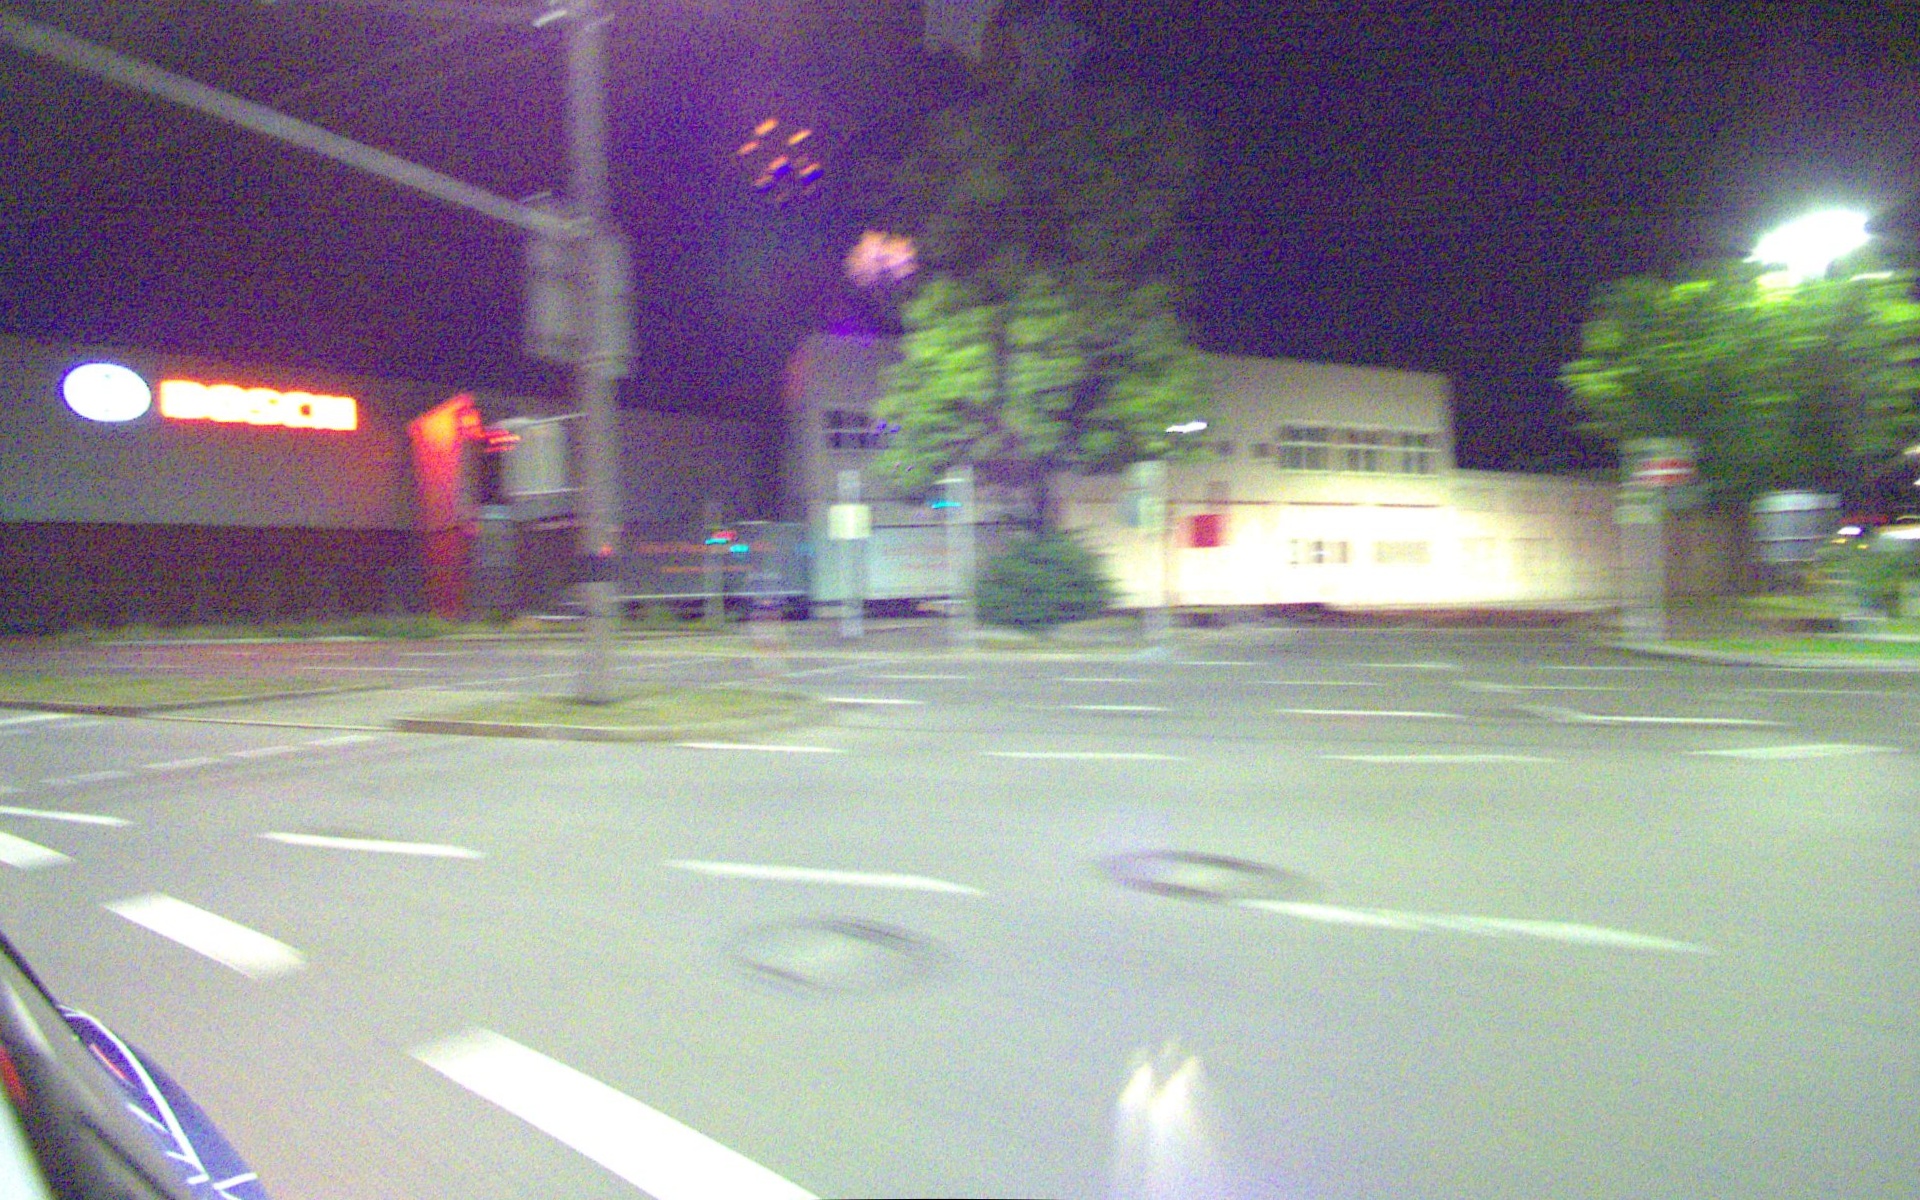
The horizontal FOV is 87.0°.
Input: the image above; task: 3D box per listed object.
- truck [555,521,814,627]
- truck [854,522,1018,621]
[{"bbox_3d":[-10.211,-1.010,38.305,9.209,3.750,2.004,-1,1,-8],"label":"truck"},{"bbox_3d":[-0.987,-1.151,40.383,6.104,3.721,2.407,-2,1,-12],"label":"truck"}]
